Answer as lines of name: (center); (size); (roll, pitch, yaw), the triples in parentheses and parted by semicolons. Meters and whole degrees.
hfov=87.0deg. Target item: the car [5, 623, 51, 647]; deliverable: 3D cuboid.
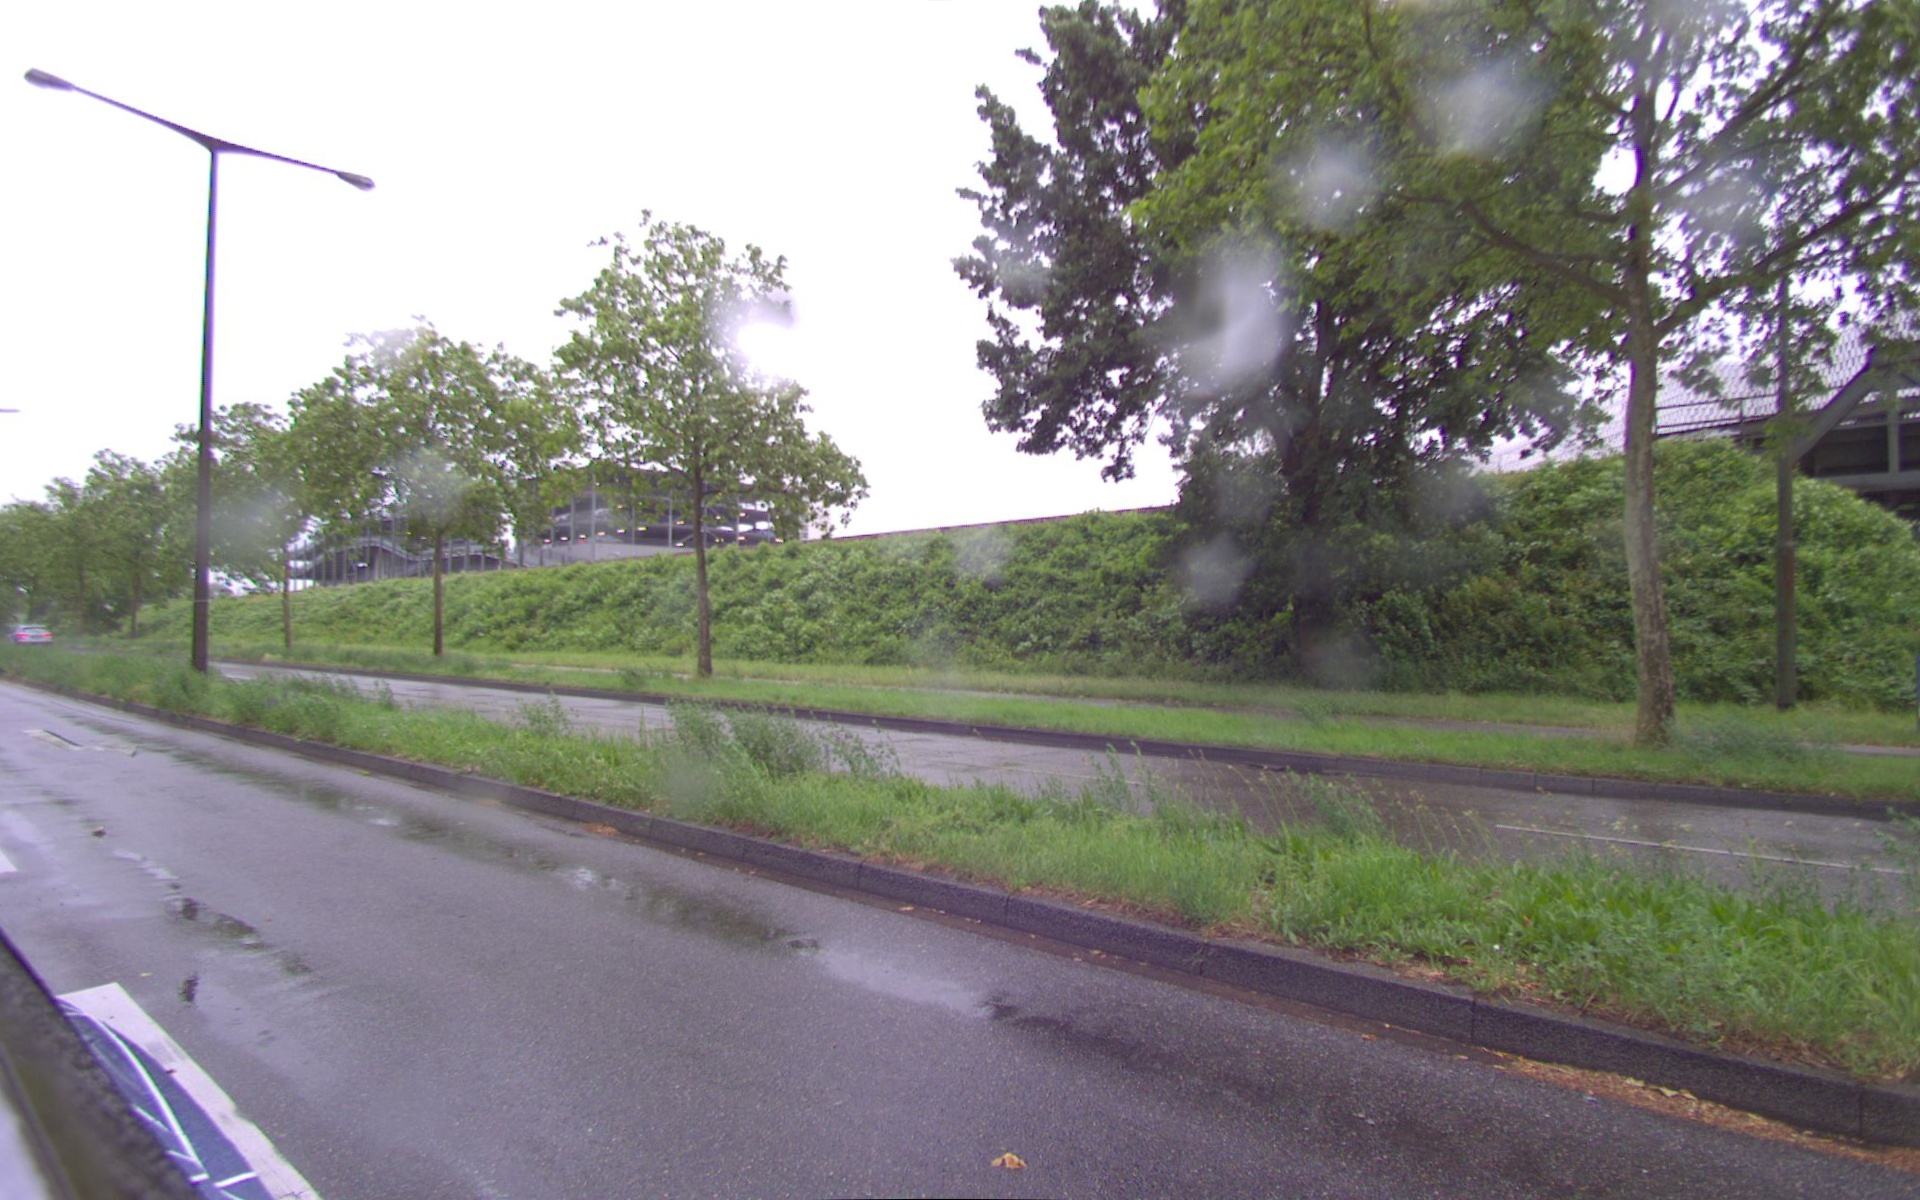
car: (-60.714, 2.268, 65.907); (4.089, 1.476, 1.702); (-1, -3, 40)
